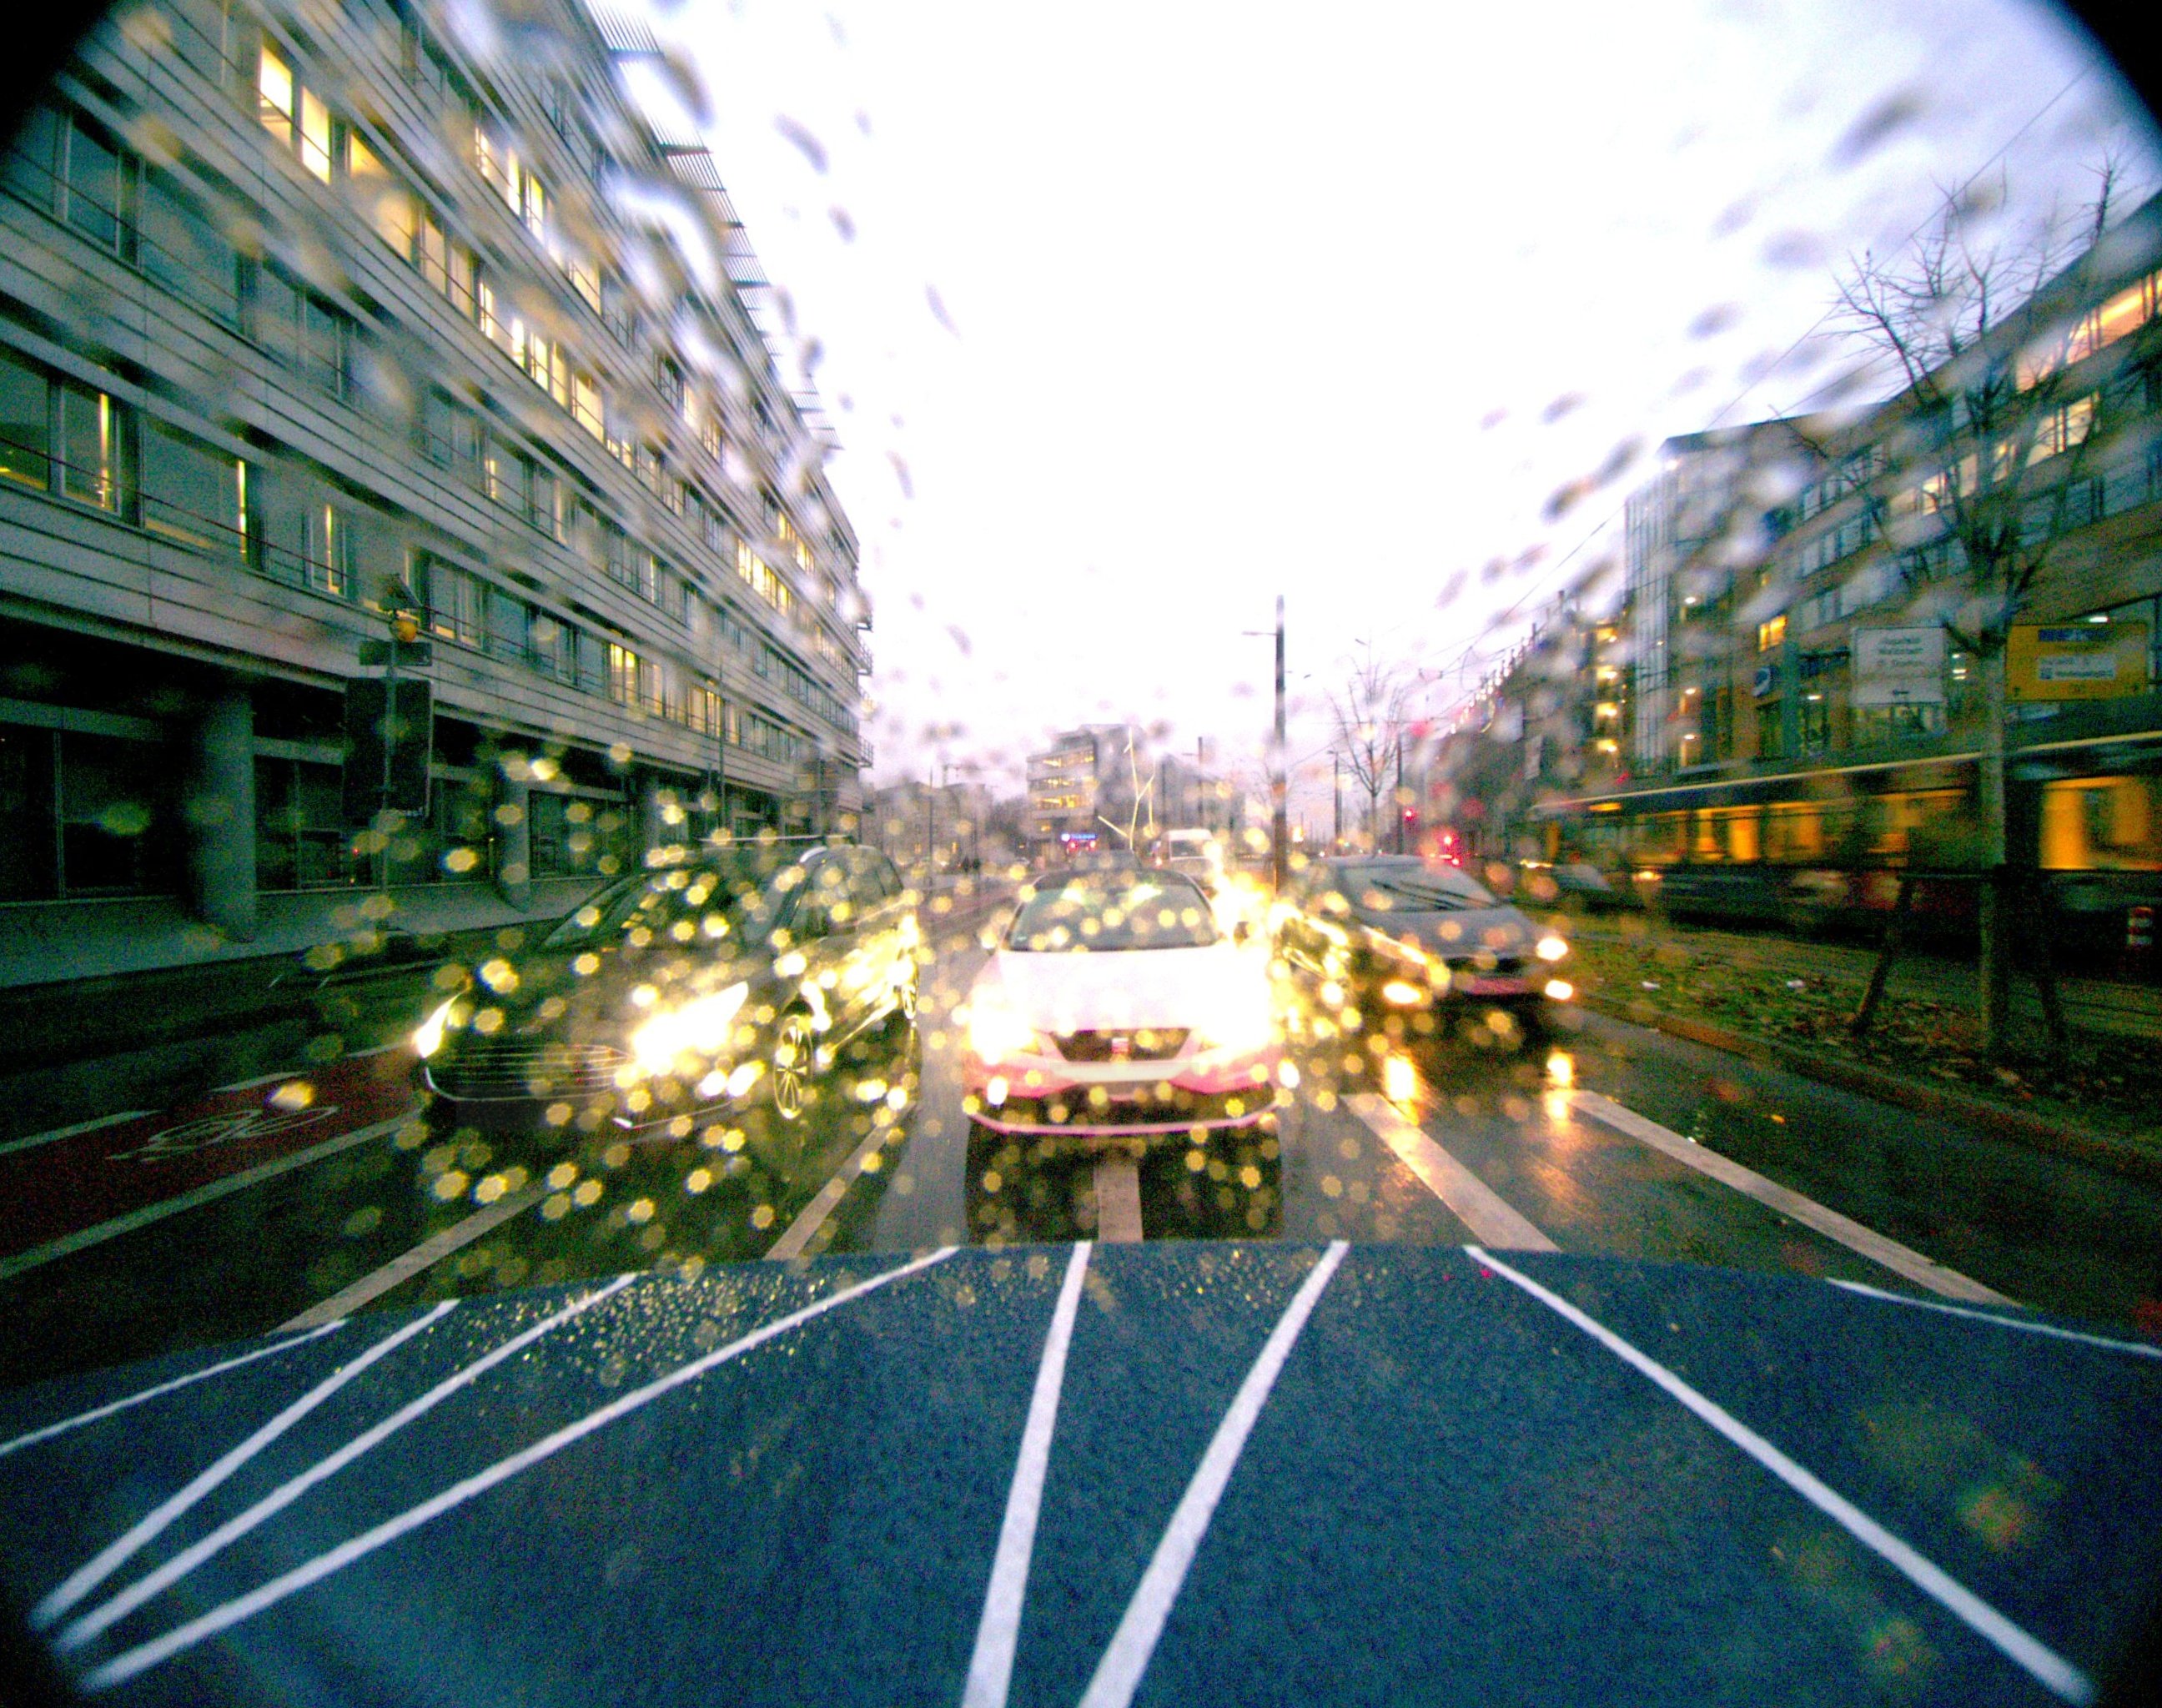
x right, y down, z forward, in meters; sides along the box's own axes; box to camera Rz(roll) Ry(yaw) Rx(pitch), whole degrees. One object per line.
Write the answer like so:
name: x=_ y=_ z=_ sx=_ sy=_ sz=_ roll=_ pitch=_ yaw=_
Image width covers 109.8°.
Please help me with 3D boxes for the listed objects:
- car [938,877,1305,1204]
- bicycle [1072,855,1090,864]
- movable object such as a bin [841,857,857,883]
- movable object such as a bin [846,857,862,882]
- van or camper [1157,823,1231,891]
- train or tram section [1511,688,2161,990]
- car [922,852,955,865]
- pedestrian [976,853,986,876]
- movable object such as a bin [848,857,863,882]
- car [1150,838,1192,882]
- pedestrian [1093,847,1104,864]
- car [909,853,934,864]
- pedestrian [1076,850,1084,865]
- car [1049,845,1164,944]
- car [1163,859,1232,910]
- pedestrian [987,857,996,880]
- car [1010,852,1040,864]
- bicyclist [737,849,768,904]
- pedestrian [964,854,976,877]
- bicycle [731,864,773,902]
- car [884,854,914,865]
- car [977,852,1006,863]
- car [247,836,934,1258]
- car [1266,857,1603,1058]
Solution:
car: x=0.224 y=0.980 z=5.704 sx=1.782 sy=1.464 sz=3.943 roll=-1 pitch=0 yaw=1
bicycle: x=-0.035 y=0.711 z=94.894 sx=2.203 sy=1.182 sz=0.668 roll=0 pitch=1 yaw=6
movable object such as a bin: x=-13.241 y=0.909 z=43.382 sx=0.666 sy=1.420 sz=0.840 roll=-1 pitch=1 yaw=-2
movable object such as a bin: x=-13.237 y=0.922 z=44.279 sx=0.666 sy=1.420 sz=0.840 roll=-1 pitch=1 yaw=-2
van or camper: x=4.535 y=0.107 z=31.553 sx=2.153 sy=2.517 sz=5.898 roll=-1 pitch=0 yaw=0
train or tram section: x=14.398 y=-0.212 z=13.240 sx=2.871 sy=3.593 sz=20.070 roll=0 pitch=0 yaw=1
car: x=-21.383 y=0.669 z=113.711 sx=4.368 sy=1.750 sz=2.002 roll=-1 pitch=1 yaw=17
pedestrian: x=-7.468 y=0.772 z=56.680 sx=0.651 sy=1.692 sz=0.884 roll=1 pitch=1 yaw=-3
movable object such as a bin: x=-13.401 y=0.927 z=45.209 sx=0.666 sy=1.468 sz=0.840 roll=-1 pitch=1 yaw=-2
car: x=6.163 y=0.388 z=52.816 sx=2.129 sy=2.847 sz=5.812 roll=-1 pitch=0 yaw=-1
pedestrian: x=2.075 y=0.199 z=89.400 sx=1.118 sy=2.002 sz=1.034 roll=0 pitch=1 yaw=15
car: x=-27.299 y=0.819 z=130.181 sx=3.725 sy=1.796 sz=1.796 roll=-1 pitch=0 yaw=16
pedestrian: x=-0.125 y=0.415 z=94.869 sx=0.892 sy=1.783 sz=0.668 roll=0 pitch=1 yaw=5
car: x=0.499 y=0.749 z=16.641 sx=2.169 sy=1.744 sz=4.540 roll=0 pitch=2 yaw=0
car: x=3.579 y=0.898 z=24.033 sx=1.759 sy=1.337 sz=4.056 roll=-1 pitch=1 yaw=3
pedestrian: x=-6.674 y=1.066 z=56.799 sx=0.616 sy=1.659 sz=0.884 roll=1 pitch=1 yaw=-3
car: x=-8.117 y=0.532 z=109.489 sx=3.918 sy=1.699 sz=1.782 roll=-1 pitch=1 yaw=15
bicyclist: x=-10.847 y=0.728 z=25.123 sx=0.671 sy=1.788 sz=0.806 roll=0 pitch=1 yaw=-3
pedestrian: x=-8.335 y=0.856 z=57.252 sx=0.747 sy=1.692 sz=0.969 roll=2 pitch=1 yaw=-3
bicycle: x=-10.841 y=0.933 z=25.082 sx=0.681 sy=1.191 sz=1.760 roll=0 pitch=1 yaw=-3
car: x=-27.822 y=0.837 z=116.072 sx=3.996 sy=1.663 sz=2.002 roll=-1 pitch=1 yaw=17
car: x=-13.002 y=0.561 z=110.682 sx=3.759 sy=1.528 sz=1.782 roll=0 pitch=0 yaw=17
car: x=-2.603 y=0.846 z=5.653 sx=1.887 sy=1.800 sz=4.671 roll=-2 pitch=0 yaw=2
car: x=3.163 y=0.801 z=7.740 sx=1.634 sy=1.514 sz=3.942 roll=0 pitch=0 yaw=1
